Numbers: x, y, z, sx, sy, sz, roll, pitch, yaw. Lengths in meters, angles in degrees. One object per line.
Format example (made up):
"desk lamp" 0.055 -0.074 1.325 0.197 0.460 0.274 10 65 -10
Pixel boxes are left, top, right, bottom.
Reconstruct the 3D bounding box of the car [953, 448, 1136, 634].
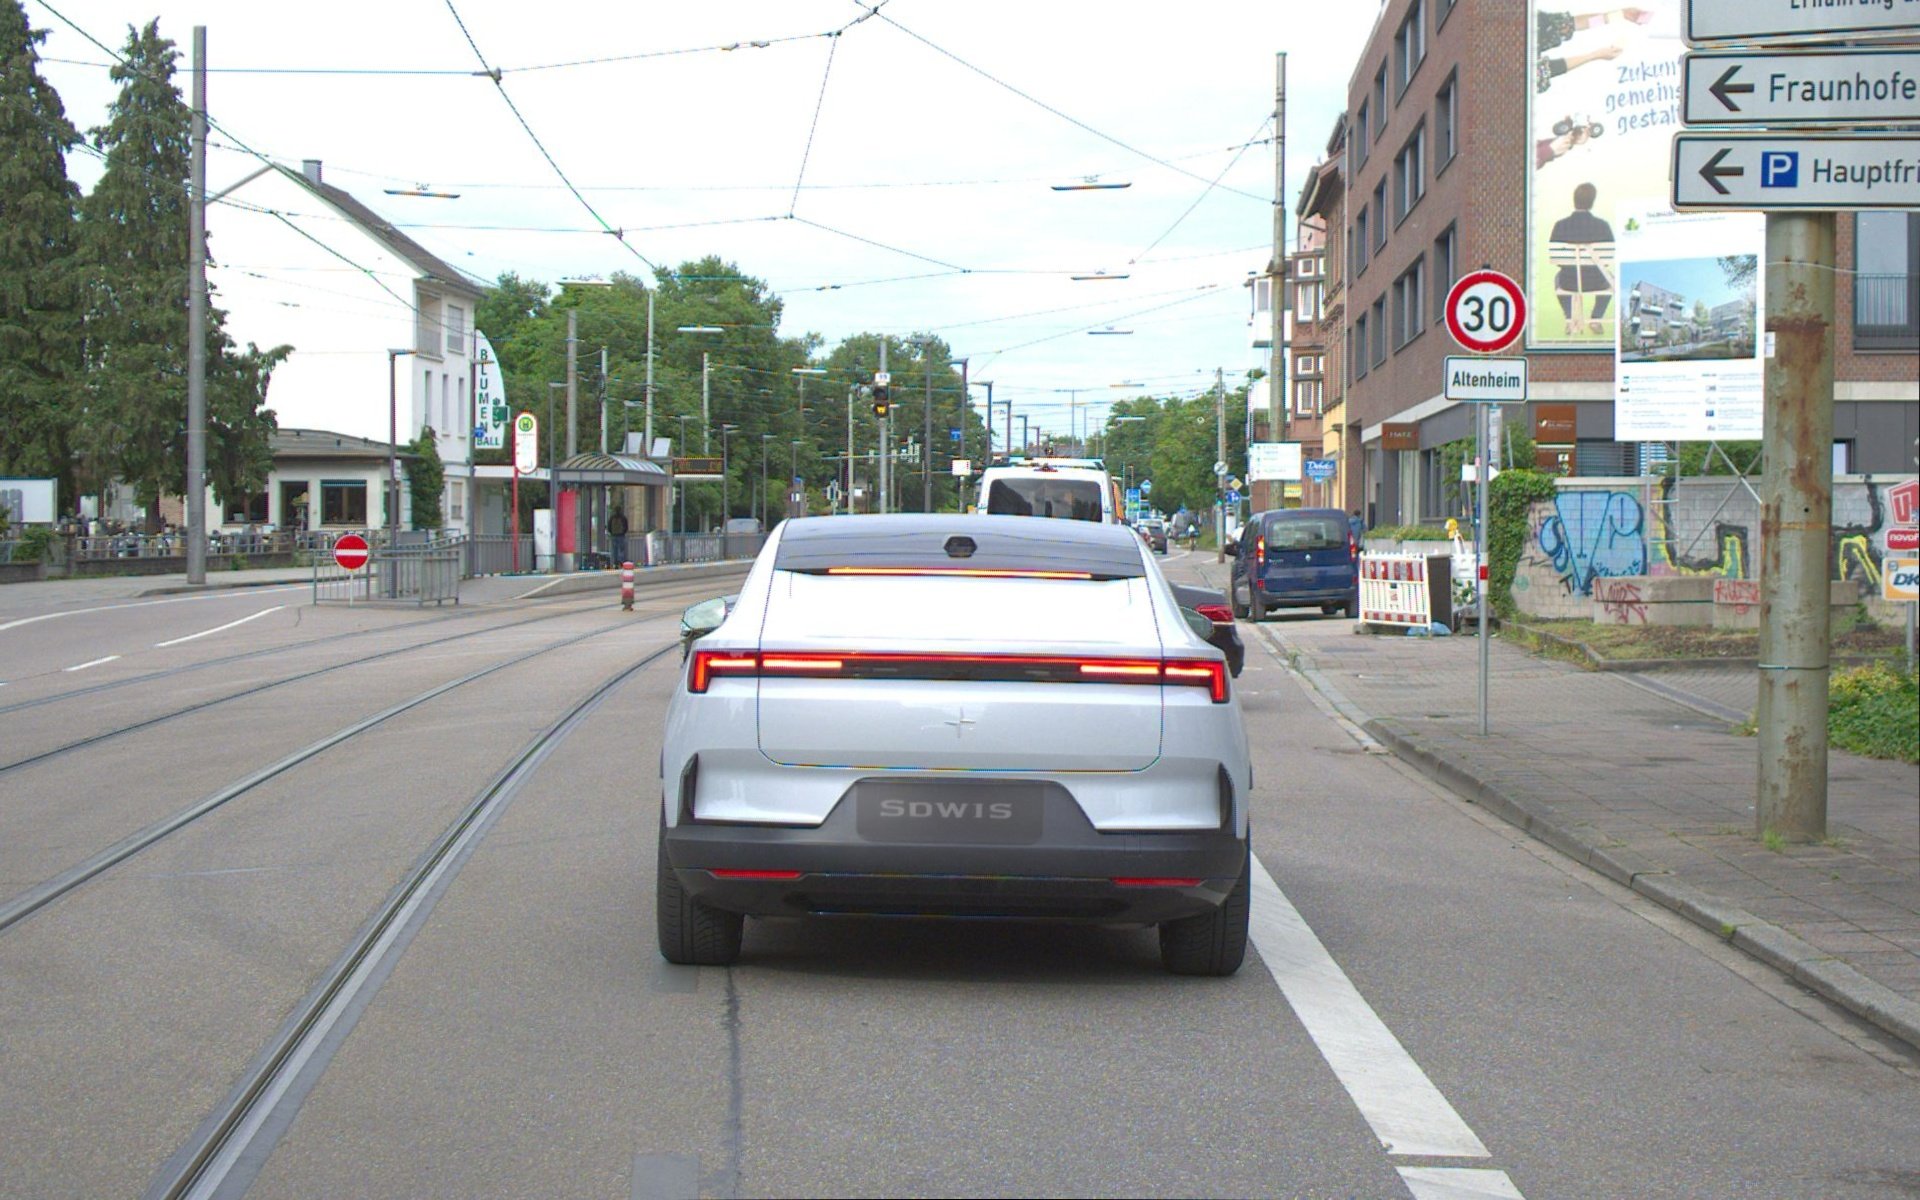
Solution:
"car" 1.125 -0.819 48.366 2.216 2.415 4.952 2 1 -2

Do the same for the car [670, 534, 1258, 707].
"car" -0.025 0.151 29.753 4.869 1.422 1.953 0 1 -8

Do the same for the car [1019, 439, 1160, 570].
"car" 2.217 -1.627 60.049 2.139 2.138 4.744 2 1 -1

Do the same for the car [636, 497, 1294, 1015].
"car" -0.130 0.437 12.649 1.981 1.544 4.184 2 1 -4

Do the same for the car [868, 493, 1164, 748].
"car" 0.346 0.123 26.219 1.968 1.750 3.838 2 1 -3

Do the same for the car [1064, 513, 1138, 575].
"car" 4.737 -1.872 115.988 1.993 2.007 4.001 2 1 -4

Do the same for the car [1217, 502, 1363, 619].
"car" 5.421 -0.655 56.943 1.874 1.817 4.097 2 1 -1
